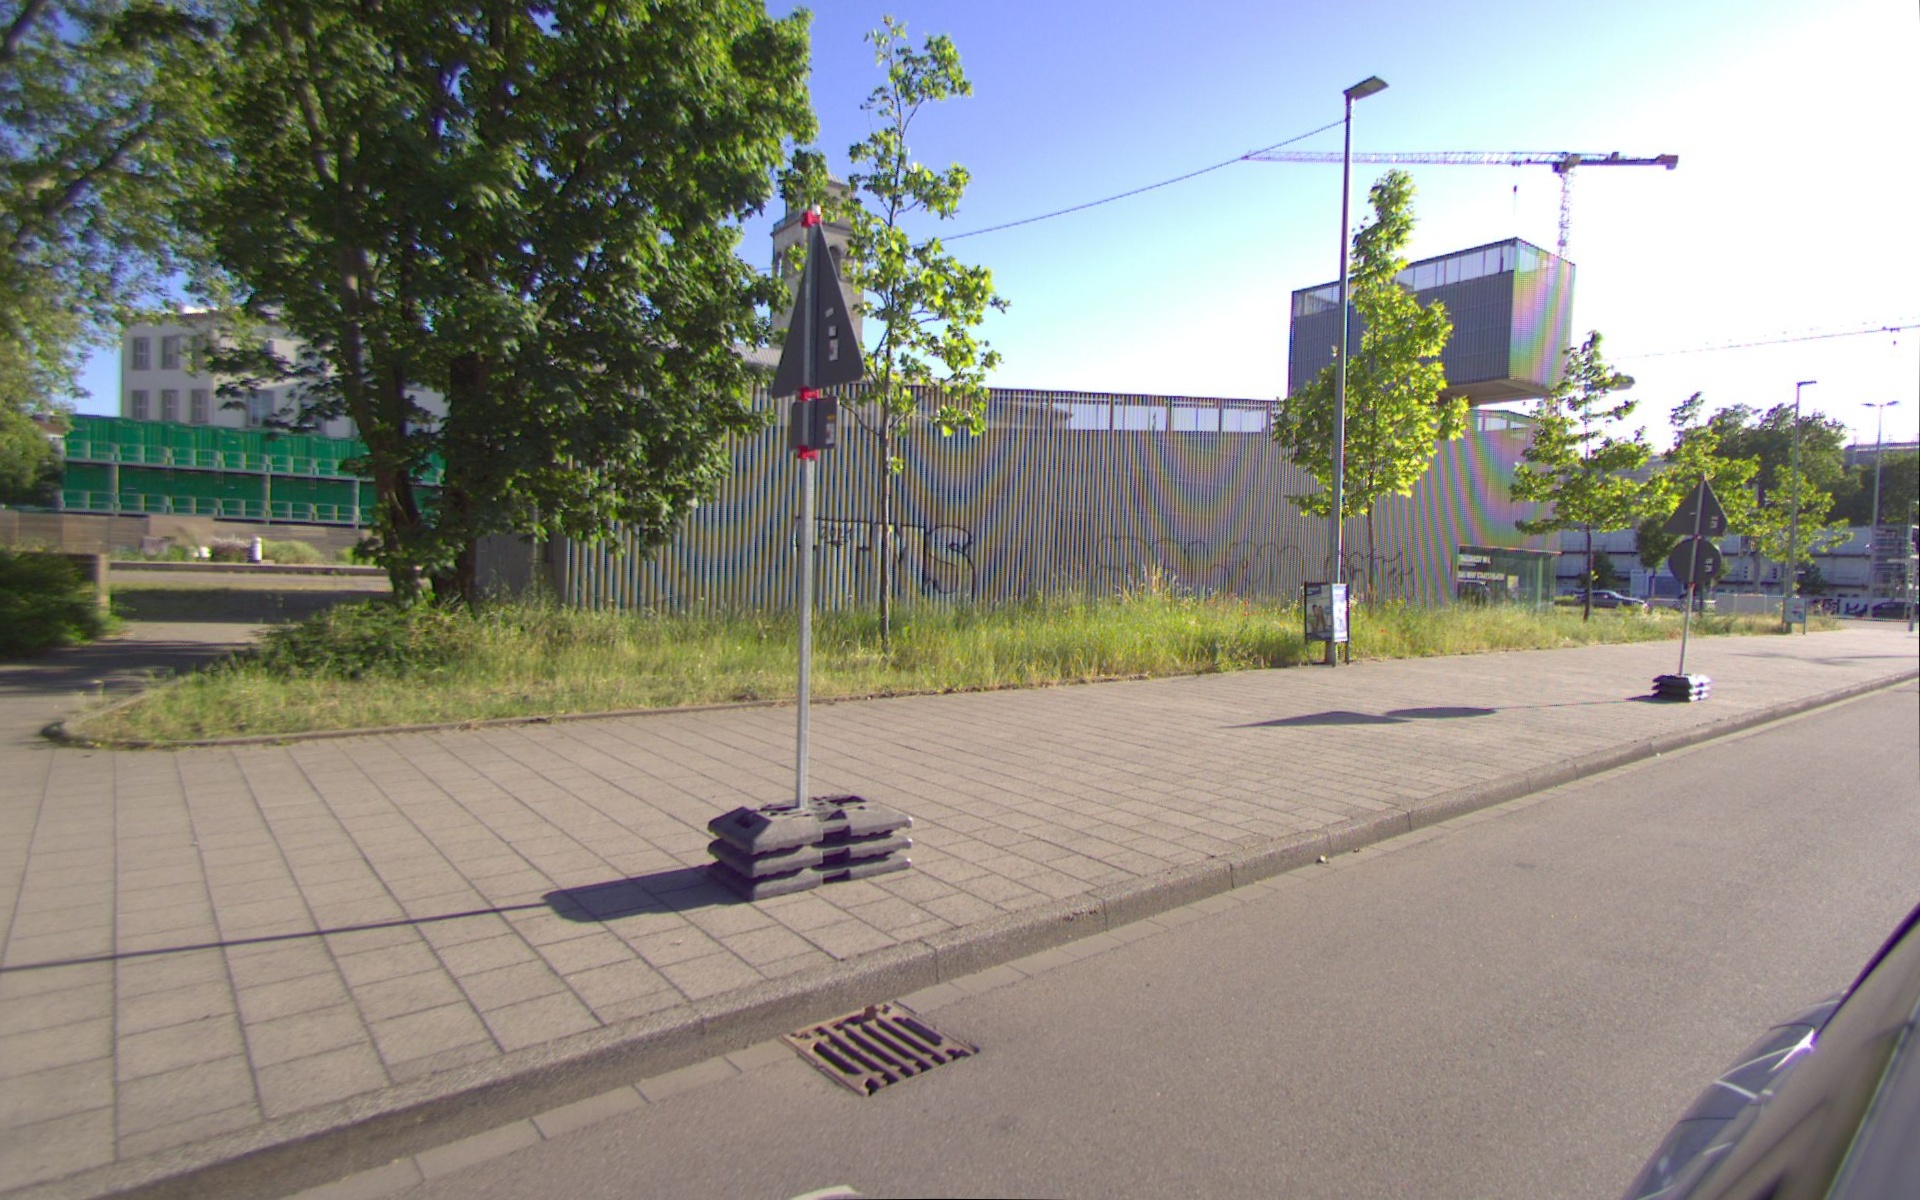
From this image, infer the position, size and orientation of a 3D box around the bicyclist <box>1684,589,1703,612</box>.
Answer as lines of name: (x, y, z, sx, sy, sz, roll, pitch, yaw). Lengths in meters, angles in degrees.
bicyclist: (50.103, 0.007, 69.095, 0.614, 1.522, 0.935, -1, 2, -45)

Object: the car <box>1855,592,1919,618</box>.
car: (65.483, 0.354, 70.494, 1.907, 1.600, 4.296, 1, 2, -35)

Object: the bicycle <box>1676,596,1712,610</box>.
bicycle: (50.103, 0.203, 69.091, 0.614, 0.920, 1.906, -1, 3, -44)

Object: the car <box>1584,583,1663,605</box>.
car: (48.466, -0.452, 74.012, 1.742, 1.368, 4.530, 0, 3, -32)

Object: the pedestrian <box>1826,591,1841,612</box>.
pedestrian: (73.027, 0.114, 84.602, 0.824, 1.701, 0.655, 1, 1, -34)
